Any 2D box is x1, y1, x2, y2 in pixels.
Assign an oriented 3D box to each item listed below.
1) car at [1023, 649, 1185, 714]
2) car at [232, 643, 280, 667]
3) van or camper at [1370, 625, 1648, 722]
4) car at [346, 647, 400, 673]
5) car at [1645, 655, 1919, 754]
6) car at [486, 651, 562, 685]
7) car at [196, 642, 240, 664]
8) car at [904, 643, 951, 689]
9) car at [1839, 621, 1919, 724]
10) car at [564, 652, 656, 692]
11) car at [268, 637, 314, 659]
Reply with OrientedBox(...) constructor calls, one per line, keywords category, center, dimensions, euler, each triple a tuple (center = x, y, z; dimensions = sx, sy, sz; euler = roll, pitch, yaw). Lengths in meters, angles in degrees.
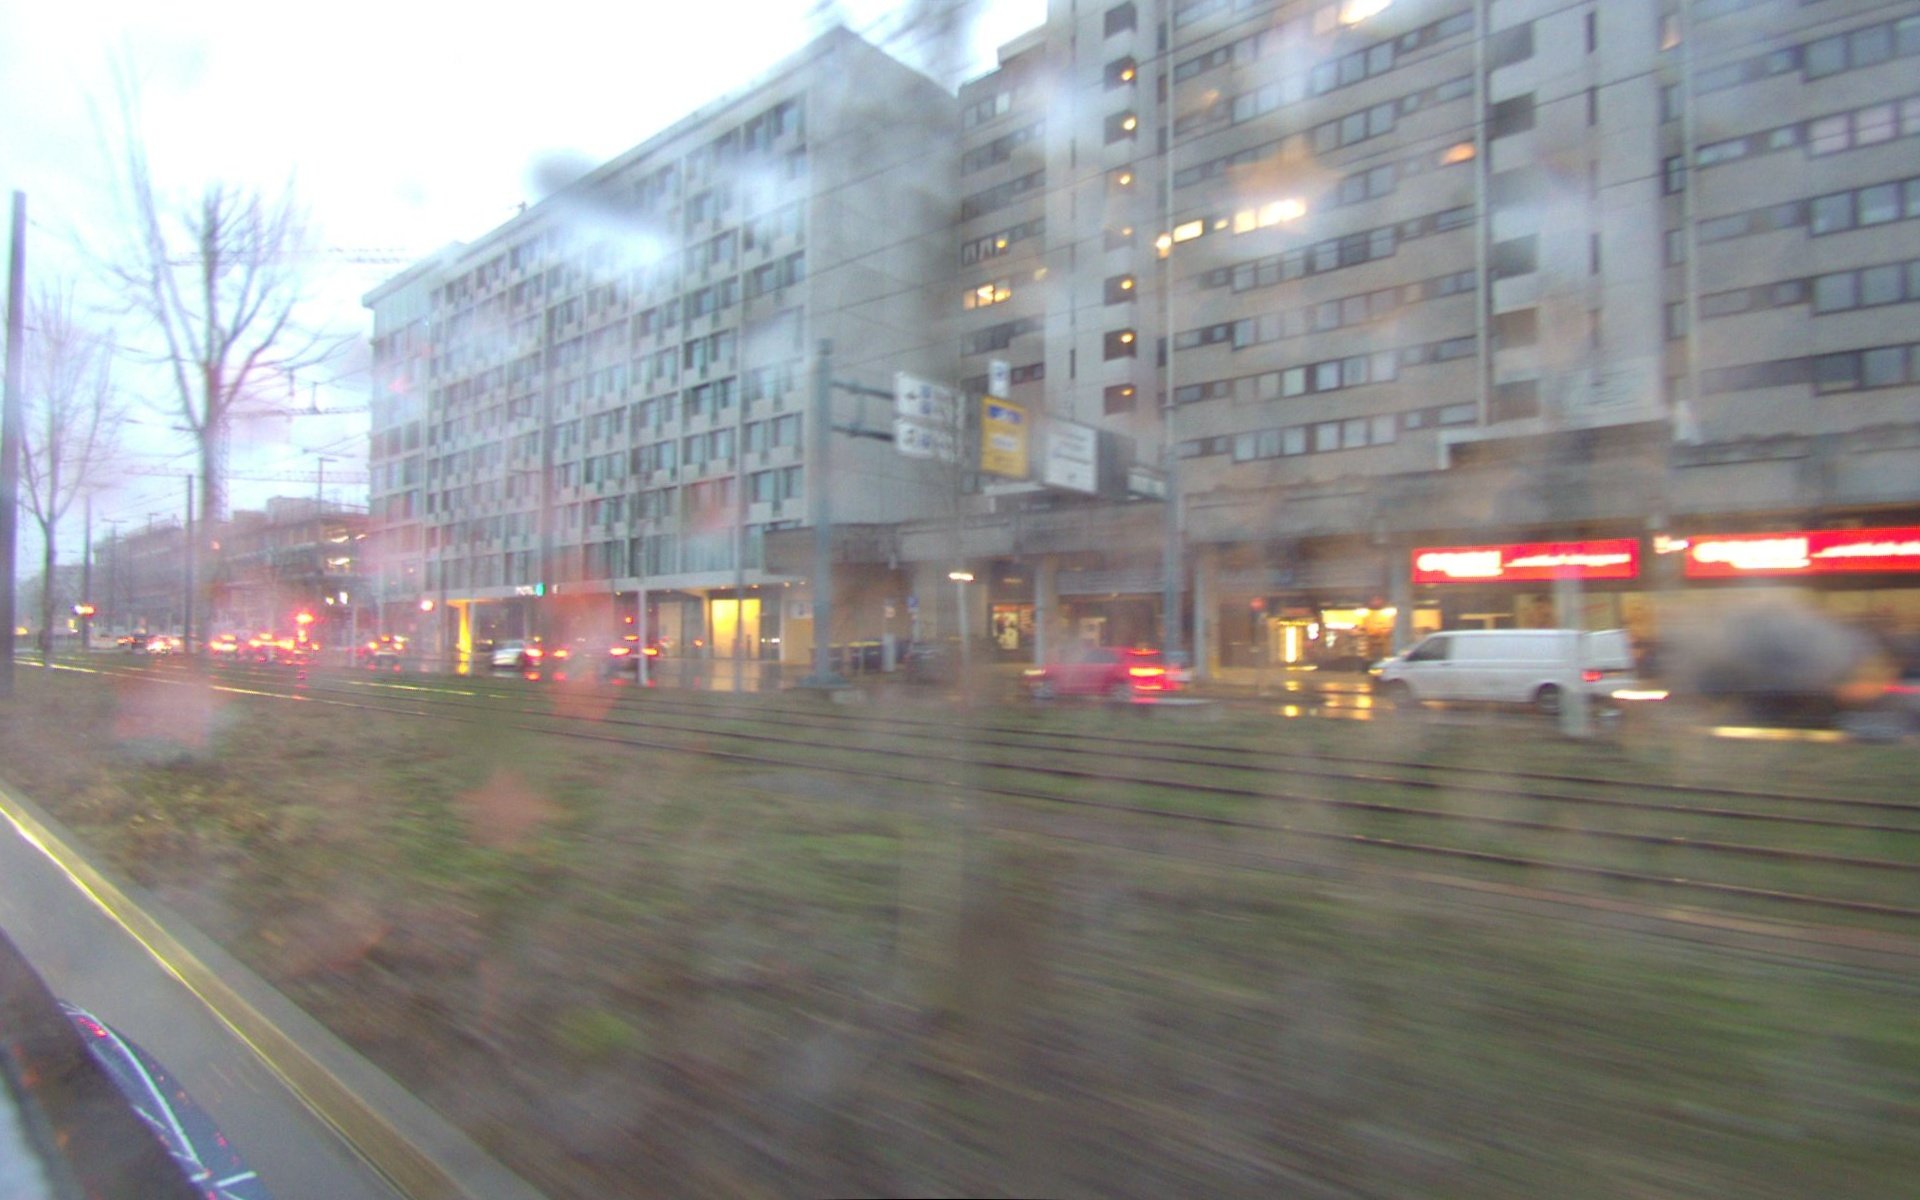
OrientedBox(category="car", center=(3.724, 2.075, 26.475), dimensions=(3.887, 1.523, 1.732), euler=(-2, -2, 40))
OrientedBox(category="car", center=(-45.410, 3.534, 65.273), dimensions=(3.870, 1.460, 1.575), euler=(-2, -2, 40))
OrientedBox(category="van or camper", center=(13.290, 1.721, 24.786), dimensions=(5.651, 2.113, 1.973), euler=(-2, -3, 41))
OrientedBox(category="car", center=(-35.202, 3.562, 60.647), dimensions=(3.870, 1.460, 1.575), euler=(-2, -2, 40))
OrientedBox(category="car", center=(14.100, 1.707, 17.333), dimensions=(3.764, 1.460, 1.656), euler=(-2, -2, 40))
OrientedBox(category="car", center=(-20.685, 3.205, 47.936), dimensions=(3.870, 1.460, 1.732), euler=(-2, -2, 40))
OrientedBox(category="car", center=(-52.015, 3.723, 70.900), dimensions=(3.870, 1.460, 1.575), euler=(-2, -2, 40))
OrientedBox(category="car", center=(-1.294, 2.463, 38.719), dimensions=(1.656, 1.630, 3.780), euler=(0, -2, -4))
OrientedBox(category="car", center=(20.430, 1.474, 19.894), dimensions=(1.969, 2.029, 4.579), euler=(-1, 0, -7))
OrientedBox(category="car", center=(-14.107, 2.869, 40.715), dimensions=(3.870, 1.460, 1.732), euler=(-2, -2, 40))
OrientedBox(category="car", center=(-46.383, 3.338, 70.159), dimensions=(3.870, 1.460, 1.575), euler=(-2, -2, 40))
